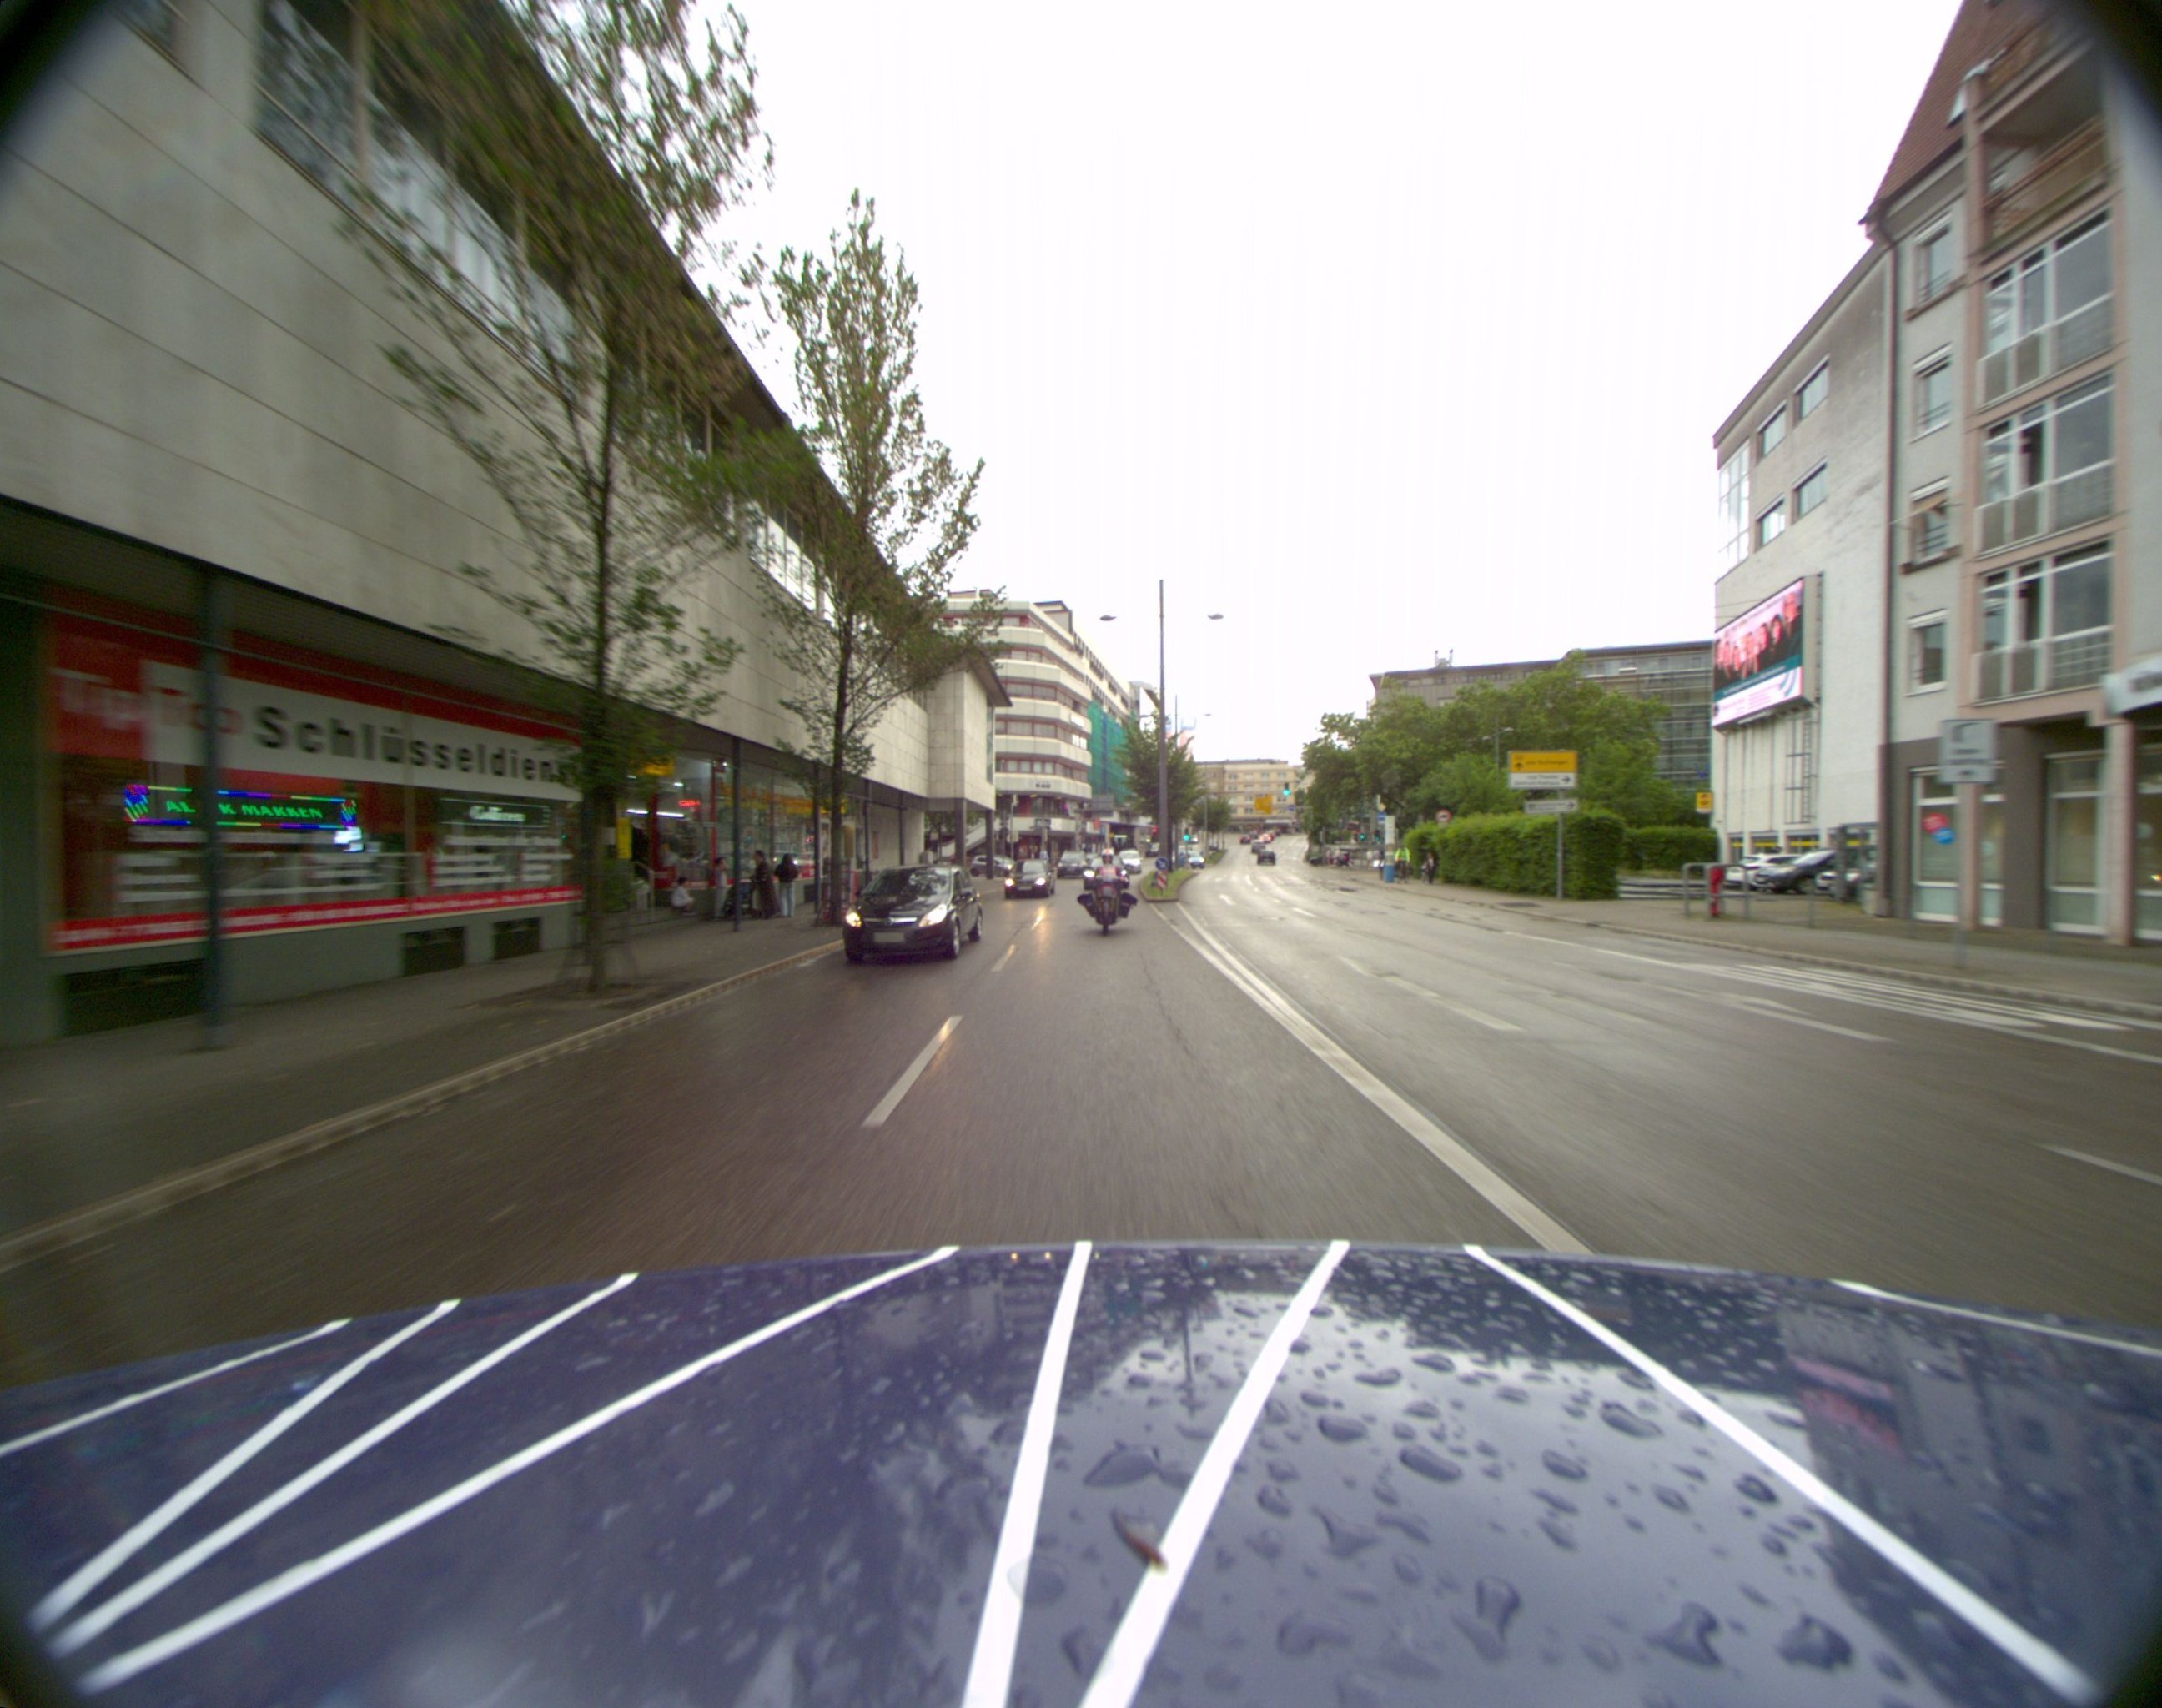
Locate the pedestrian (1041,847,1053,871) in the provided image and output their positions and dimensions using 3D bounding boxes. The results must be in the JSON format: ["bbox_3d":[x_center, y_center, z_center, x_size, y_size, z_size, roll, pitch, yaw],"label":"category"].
[{"bbox_3d":[-2.639,0.388,59.751,0.623,1.837,0.848,0,3,20],"label":"pedestrian"}]

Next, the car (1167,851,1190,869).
[{"bbox_3d":[9.099,0.540,70.698,1.768,1.401,4.002,-1,2,11],"label":"car"}]

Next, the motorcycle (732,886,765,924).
[{"bbox_3d":[-7.451,1.127,17.062,0.325,0.799,0.920,1,0,1],"label":"motorcycle"}]

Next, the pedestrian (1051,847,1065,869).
[{"bbox_3d":[-1.973,0.305,65.472,0.896,1.770,0.806,5,5,16],"label":"pedestrian"}]

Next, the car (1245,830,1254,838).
[{"bbox_3d":[32.311,-3.899,145.874,1.716,1.471,3.960,2,3,12],"label":"car"}]

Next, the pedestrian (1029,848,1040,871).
[{"bbox_3d":[-3.663,0.443,59.835,0.623,1.764,0.678,0,3,20],"label":"pedestrian"}]

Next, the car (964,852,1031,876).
[{"bbox_3d":[-5.502,0.653,50.147,3.989,1.468,2.003,-1,2,32],"label":"car"}]

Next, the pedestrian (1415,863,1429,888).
[{"bbox_3d":[16.192,1.025,36.124,0.469,1.144,0.502,0,1,5],"label":"pedestrian"}]

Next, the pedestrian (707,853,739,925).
[{"bbox_3d":[-7.880,0.753,16.739,0.430,1.557,0.510,0,1,5],"label":"pedestrian"}]

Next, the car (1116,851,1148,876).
[{"bbox_3d":[3.682,0.661,53.920,1.630,1.731,3.604,1,0,14],"label":"car"}]

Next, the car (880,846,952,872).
[{"bbox_3d":[-11.584,0.368,53.527,4.604,1.750,1.856,0,2,4],"label":"car"}]

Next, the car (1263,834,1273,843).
[{"bbox_3d":[32.418,-2.747,131.672,1.674,1.507,3.646,1,2,13],"label":"car"}]

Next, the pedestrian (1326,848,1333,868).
[{"bbox_3d":[22.923,0.368,70.089,0.447,1.827,0.676,0,4,9],"label":"pedestrian"}]

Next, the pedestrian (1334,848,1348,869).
[{"bbox_3d":[23.358,0.405,68.305,0.861,1.895,0.826,-2,2,-11],"label":"pedestrian"}]

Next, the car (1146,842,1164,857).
[{"bbox_3d":[9.794,-0.677,100.661,1.830,1.727,4.002,1,4,14],"label":"car"}]

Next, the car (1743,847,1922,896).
[{"bbox_3d":[26.368,0.614,26.863,4.053,1.566,1.957,-1,1,22],"label":"car"}]

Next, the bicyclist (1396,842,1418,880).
[{"bbox_3d":[16.227,0.351,37.849,0.793,1.879,0.954,0,1,11],"label":"bicyclist"}]

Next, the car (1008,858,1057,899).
[{"bbox_3d":[-1.824,0.898,29.332,1.596,1.432,3.627,-1,0,1],"label":"car"}]

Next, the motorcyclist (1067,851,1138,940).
[{"bbox_3d":[0.452,0.813,15.608,1.294,1.757,0.846,0,1,14],"label":"motorcyclist"}]

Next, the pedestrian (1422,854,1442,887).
[{"bbox_3d":[16.668,0.792,36.074,0.716,1.550,0.565,0,1,4],"label":"pedestrian"}]

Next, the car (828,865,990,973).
[{"bbox_3d":[-2.687,0.962,12.732,1.712,1.448,3.742,0,1,2],"label":"car"}]

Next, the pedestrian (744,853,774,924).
[{"bbox_3d":[-7.254,0.761,17.131,0.510,1.557,0.429,0,1,-43],"label":"pedestrian"}]

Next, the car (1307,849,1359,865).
[{"bbox_3d":[24.458,0.276,73.834,1.937,1.388,4.412,-1,3,-44],"label":"car"}]

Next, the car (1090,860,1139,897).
[{"bbox_3d":[1.585,1.051,34.470,1.937,1.511,4.470,-1,0,6],"label":"car"}]

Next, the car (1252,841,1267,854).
[{"bbox_3d":[24.432,-0.921,104.103,1.830,1.726,4.313,0,2,12],"label":"car"}]

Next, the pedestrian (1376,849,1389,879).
[{"bbox_3d":[18.250,0.591,46.003,0.648,1.755,0.592,0,4,8],"label":"pedestrian"}]

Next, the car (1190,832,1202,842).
[{"bbox_3d":[20.348,-3.008,134.279,1.830,1.727,4.002,1,4,14],"label":"car"}]

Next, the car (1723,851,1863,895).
[{"bbox_3d":[27.350,0.740,29.308,3.592,1.566,1.602,-2,1,19],"label":"car"}]

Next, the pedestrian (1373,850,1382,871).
[{"bbox_3d":[24.678,0.548,63.247,0.527,1.754,0.593,0,1,11],"label":"pedestrian"}]

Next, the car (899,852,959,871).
[{"bbox_3d":[-11.894,0.571,59.594,4.270,1.412,1.787,0,1,0],"label":"car"}]

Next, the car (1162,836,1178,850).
[{"bbox_3d":[13.293,-1.650,112.923,1.830,1.727,4.002,1,4,14],"label":"car"}]

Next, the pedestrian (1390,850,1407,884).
[{"bbox_3d":[16.681,0.663,39.934,0.592,1.754,0.643,0,1,-1],"label":"pedestrian"}]

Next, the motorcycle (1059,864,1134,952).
[{"bbox_3d":[0.362,0.951,14.689,0.831,1.479,2.868,1,0,13],"label":"motorcycle"}]

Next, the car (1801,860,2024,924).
[{"bbox_3d":[24.447,1.058,22.558,3.991,1.729,1.957,0,1,20],"label":"car"}]

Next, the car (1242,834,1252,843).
[{"bbox_3d":[28.046,-2.590,128.273,1.625,1.547,3.662,0,1,11],"label":"car"}]

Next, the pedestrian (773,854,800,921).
[{"bbox_3d":[-6.883,0.770,17.767,0.510,1.557,0.429,0,1,-34],"label":"pedestrian"}]

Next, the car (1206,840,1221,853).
[{"bbox_3d":[19.327,-1.112,110.974,1.830,1.727,4.002,1,4,14],"label":"car"}]

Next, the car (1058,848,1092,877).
[{"bbox_3d":[-0.346,0.502,47.974,1.735,1.669,4.249,-2,1,4],"label":"car"}]

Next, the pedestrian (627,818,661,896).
[{"bbox_3d":[-8.927,0.064,15.525,0.510,1.557,0.429,0,1,-43],"label":"pedestrian"}]

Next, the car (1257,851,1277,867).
[{"bbox_3d":[18.633,0.459,76.320,1.760,1.412,4.100,2,2,12],"label":"car"}]

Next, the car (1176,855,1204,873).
[{"bbox_3d":[9.126,0.804,63.923,1.700,1.466,3.689,0,1,-2],"label":"car"}]

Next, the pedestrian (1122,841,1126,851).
[{"bbox_3d":[6.214,-1.154,110.577,0.429,1.481,0.523,-1,4,-13],"label":"pedestrian"}]

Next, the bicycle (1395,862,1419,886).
[{"bbox_3d":[16.278,0.991,37.984,0.651,1.104,2.059,0,1,10],"label":"bicycle"}]

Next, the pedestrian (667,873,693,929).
[{"bbox_3d":[-8.361,0.967,15.843,0.431,1.129,0.508,0,1,-34],"label":"pedestrian"}]

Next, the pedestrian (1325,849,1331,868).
[{"bbox_3d":[23.085,0.430,71.015,0.412,1.753,0.677,0,0,11],"label":"pedestrian"}]

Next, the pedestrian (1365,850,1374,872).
[{"bbox_3d":[23.986,0.583,63.085,0.527,1.754,0.593,-3,2,12],"label":"pedestrian"}]

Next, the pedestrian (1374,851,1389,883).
[{"bbox_3d":[16.532,0.719,41.771,0.630,1.754,0.528,0,1,0],"label":"pedestrian"}]
